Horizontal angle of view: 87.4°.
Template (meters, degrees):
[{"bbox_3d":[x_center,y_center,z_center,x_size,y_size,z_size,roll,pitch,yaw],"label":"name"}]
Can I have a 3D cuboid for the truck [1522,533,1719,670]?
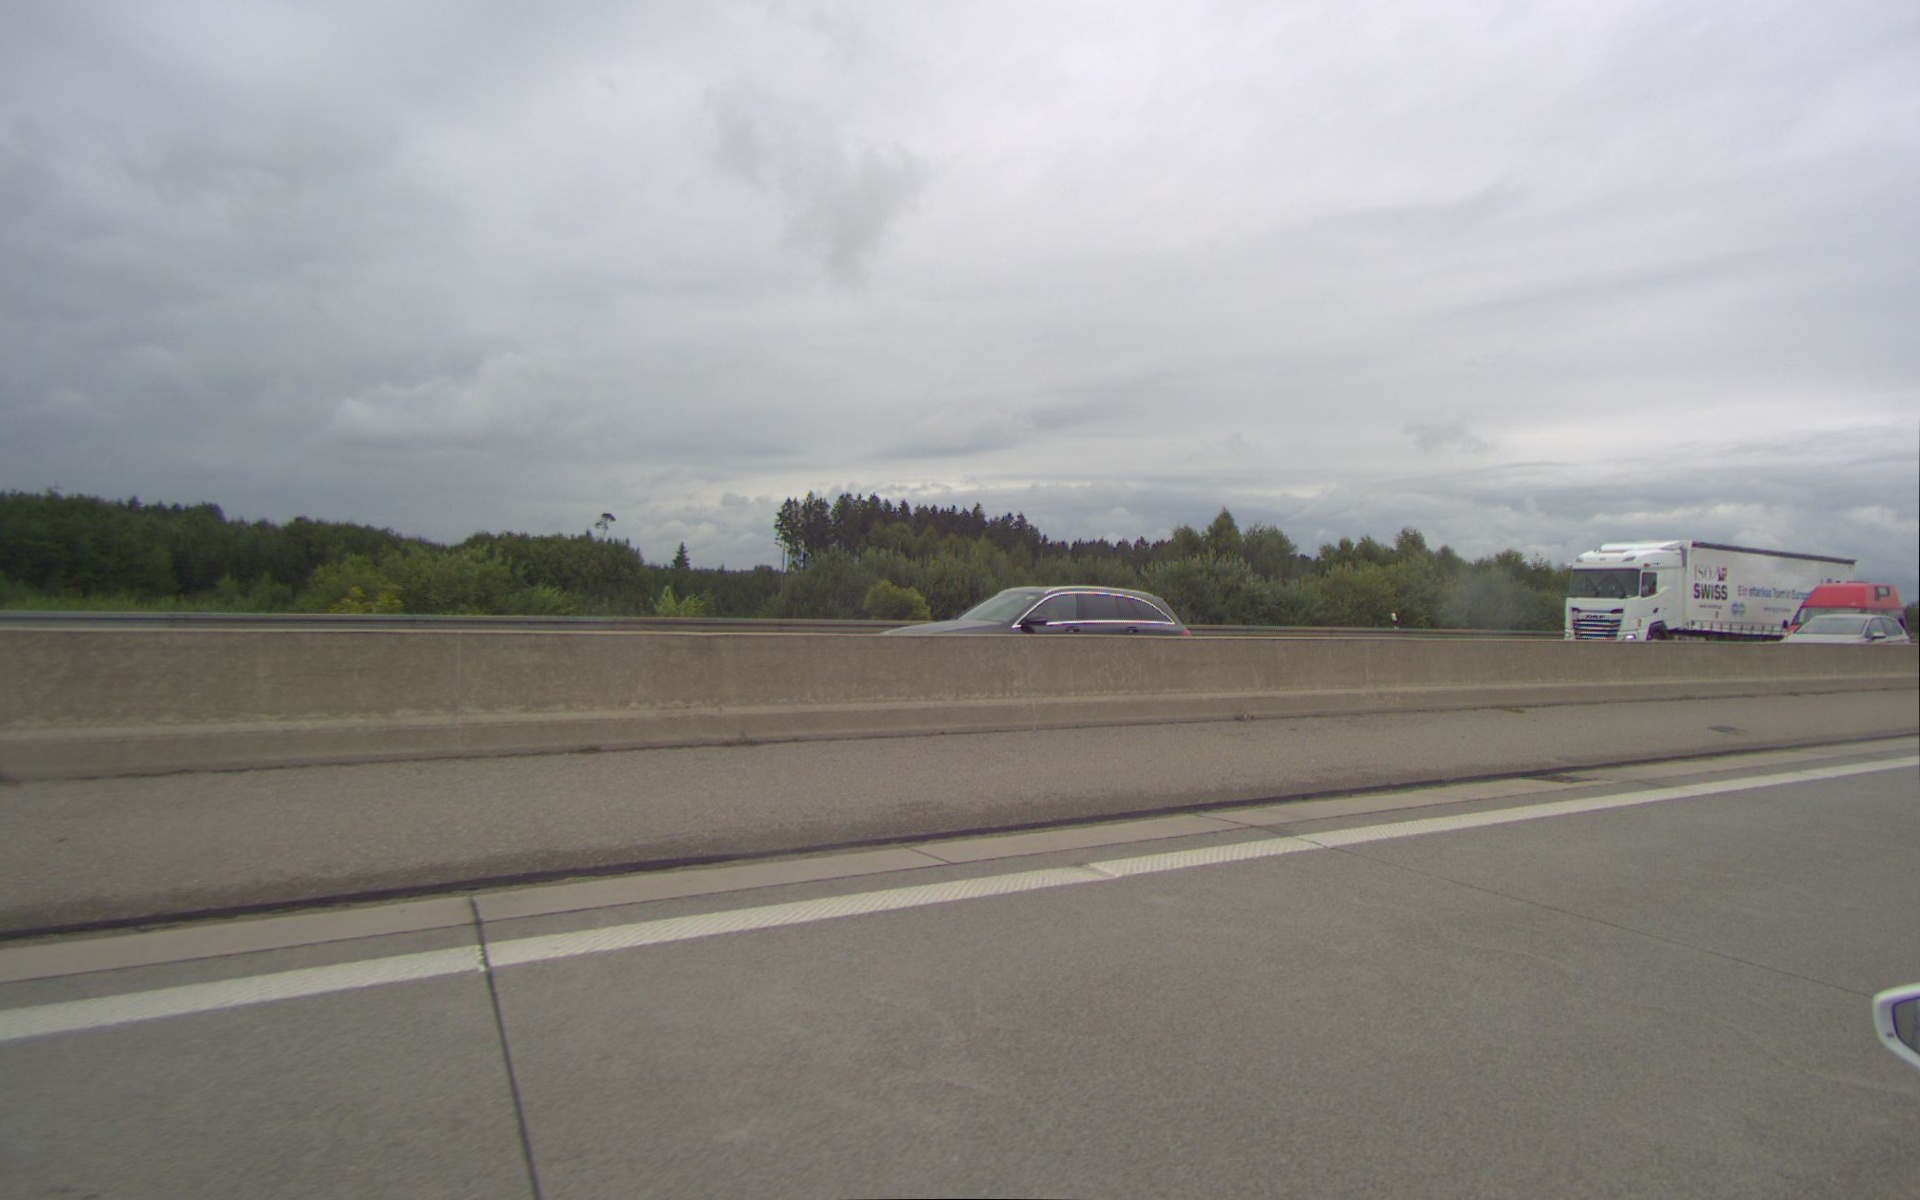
[{"bbox_3d":[22.996,0.072,34.871,7.052,4.348,2.870,1,0,-30],"label":"truck"}]

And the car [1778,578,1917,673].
[{"bbox_3d":[30.079,0.861,33.995,5.511,2.998,1.793,1,0,-29],"label":"car"}]

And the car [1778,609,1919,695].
[{"bbox_3d":[23.486,1.293,26.249,4.672,2.040,1.792,1,0,-31],"label":"car"}]

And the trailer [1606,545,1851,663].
[{"bbox_3d":[30.093,0.196,39.024,12.860,4.056,2.874,1,0,-30],"label":"trailer"}]

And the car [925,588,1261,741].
[{"bbox_3d":[1.861,0.774,13.614,4.377,1.789,1.735,1,0,-30],"label":"car"}]
